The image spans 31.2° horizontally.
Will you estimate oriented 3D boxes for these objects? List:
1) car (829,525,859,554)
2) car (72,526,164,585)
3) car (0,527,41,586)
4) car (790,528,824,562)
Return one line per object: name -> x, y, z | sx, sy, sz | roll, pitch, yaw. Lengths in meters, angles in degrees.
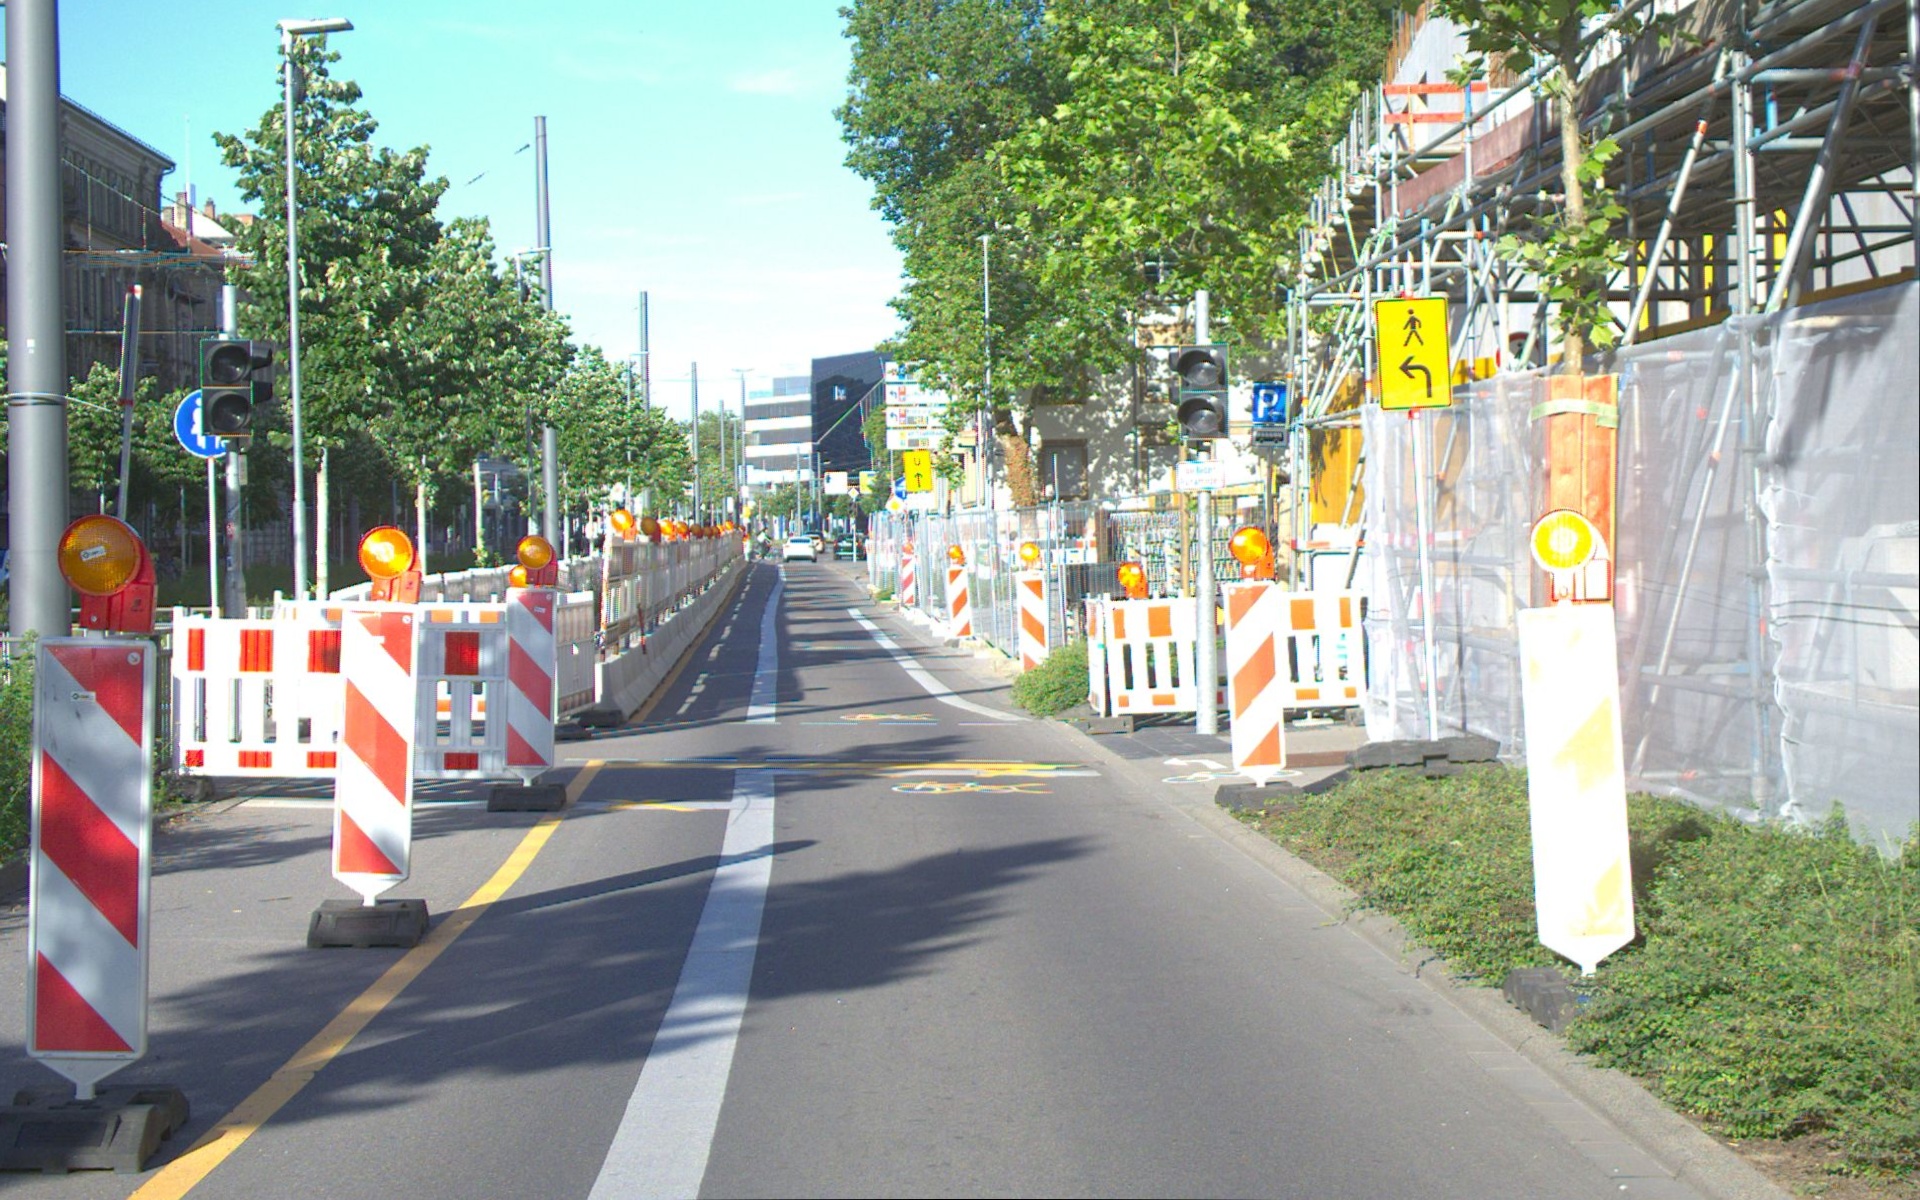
car -> -7.592, -3.956, 224.331 | 1.883, 1.836, 3.668 | -1, 2, -3
car -> -22.281, -1.194, 91.072 | 1.595, 1.478, 3.623 | -1, 1, -1
car -> -26.775, -1.206, 95.219 | 1.566, 1.557, 4.715 | -1, 2, -3
car -> -8.618, -3.113, 193.658 | 1.883, 1.836, 3.668 | -1, 2, -3
